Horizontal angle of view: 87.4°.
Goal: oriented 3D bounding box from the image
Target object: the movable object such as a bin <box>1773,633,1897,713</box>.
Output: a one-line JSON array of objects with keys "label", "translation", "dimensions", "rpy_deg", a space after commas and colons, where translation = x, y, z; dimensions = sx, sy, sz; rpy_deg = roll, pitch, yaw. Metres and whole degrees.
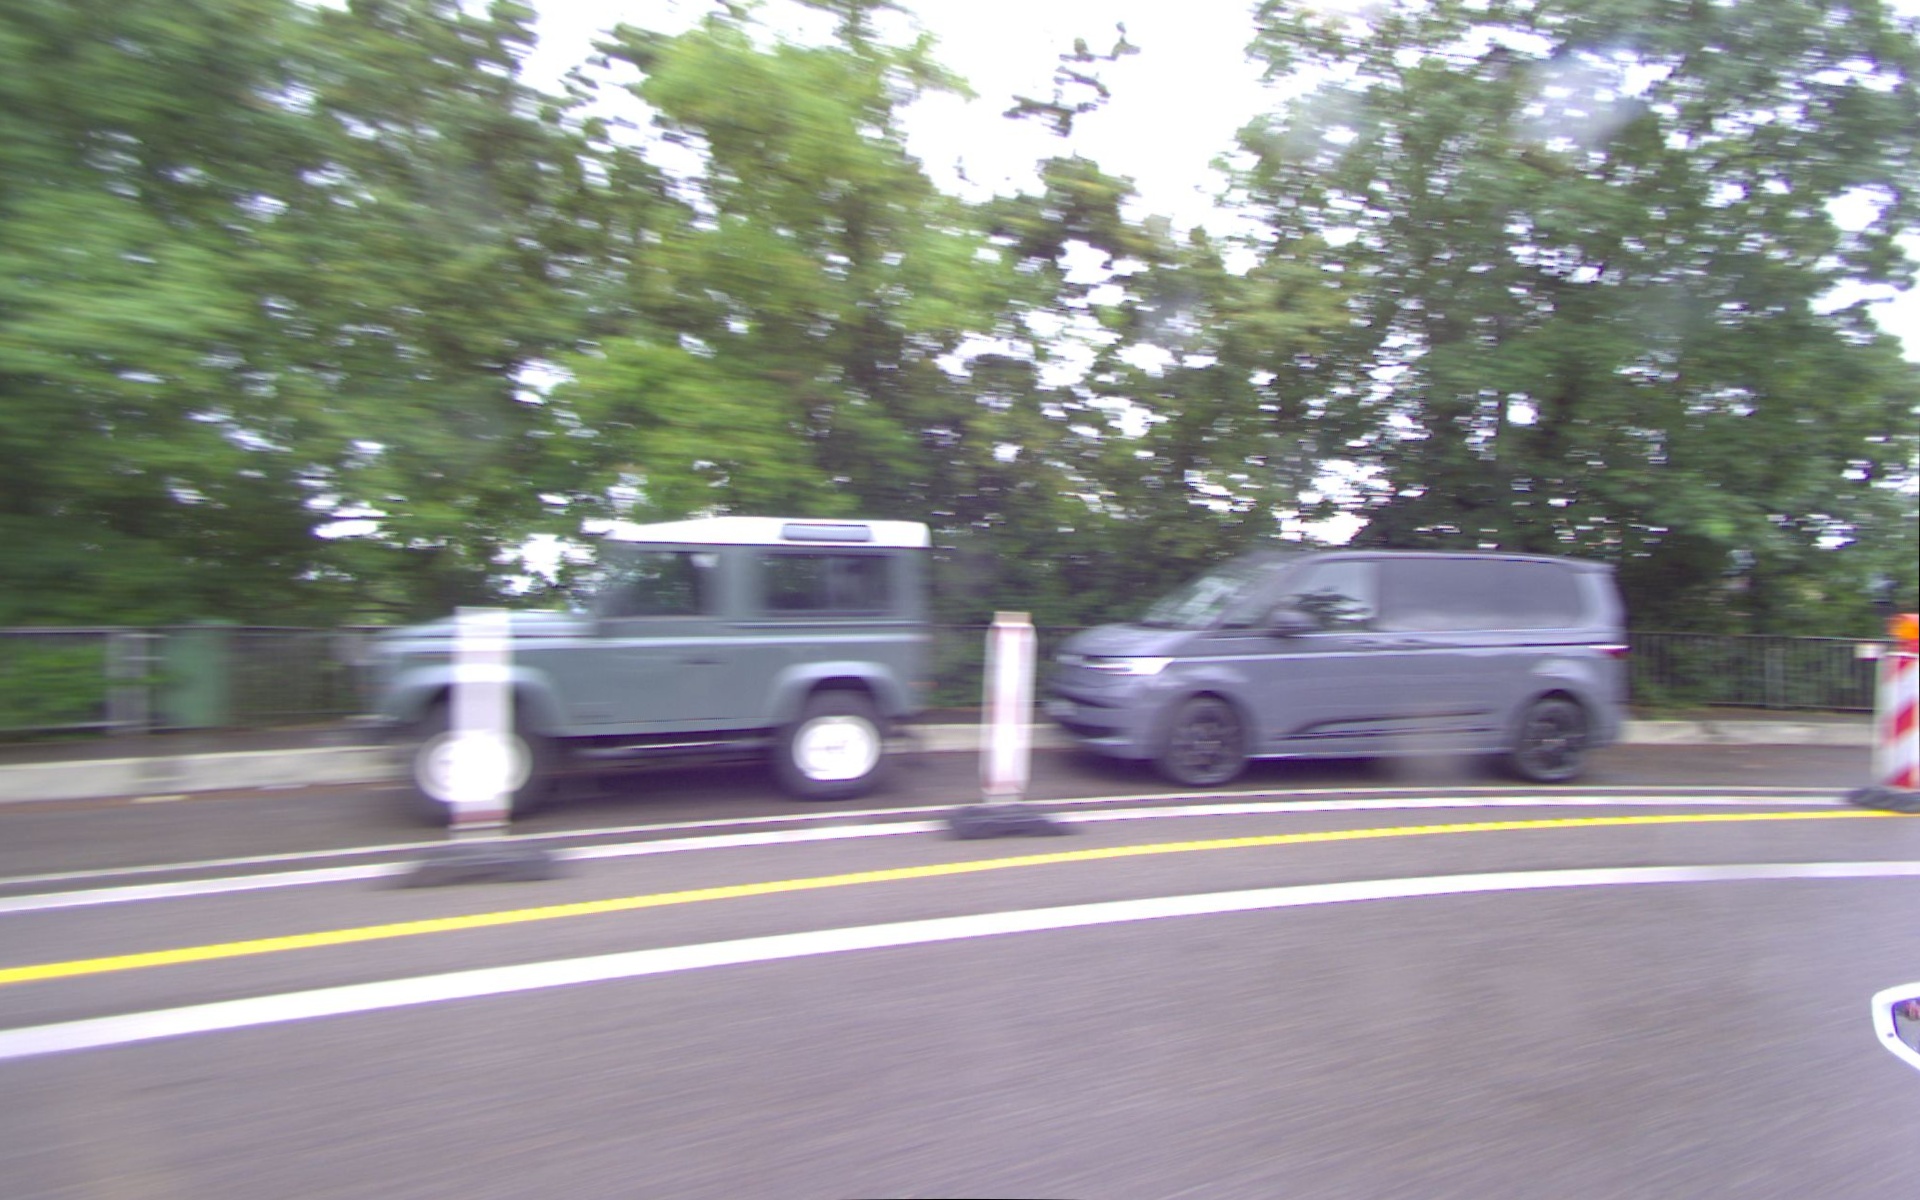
[{"label": "movable object such as a bin", "translation": [12.891, 1.056, 14.840], "dimensions": [1.006, 1.121, 0.990], "rpy_deg": [0, -1, 9]}]

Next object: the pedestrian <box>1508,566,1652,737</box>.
[{"label": "pedestrian", "translation": [6.857, 0.552, 11.165], "dimensions": [0.961, 1.791, 0.925], "rpy_deg": [2, 1, -1]}]

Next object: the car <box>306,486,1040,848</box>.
[{"label": "car", "translation": [-1.924, 0.392, 7.534], "dimensions": [4.748, 2.041, 1.859], "rpy_deg": [1, 1, -25]}]

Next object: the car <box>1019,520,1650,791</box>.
[{"label": "car", "translation": [3.128, 0.468, 8.917], "dimensions": [4.859, 2.041, 1.997], "rpy_deg": [2, 1, -9]}]

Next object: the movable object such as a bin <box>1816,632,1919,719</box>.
[{"label": "movable object such as a bin", "translation": [12.679, 1.027, 13.807], "dimensions": [1.006, 1.121, 0.990], "rpy_deg": [2, -1, 9]}]
